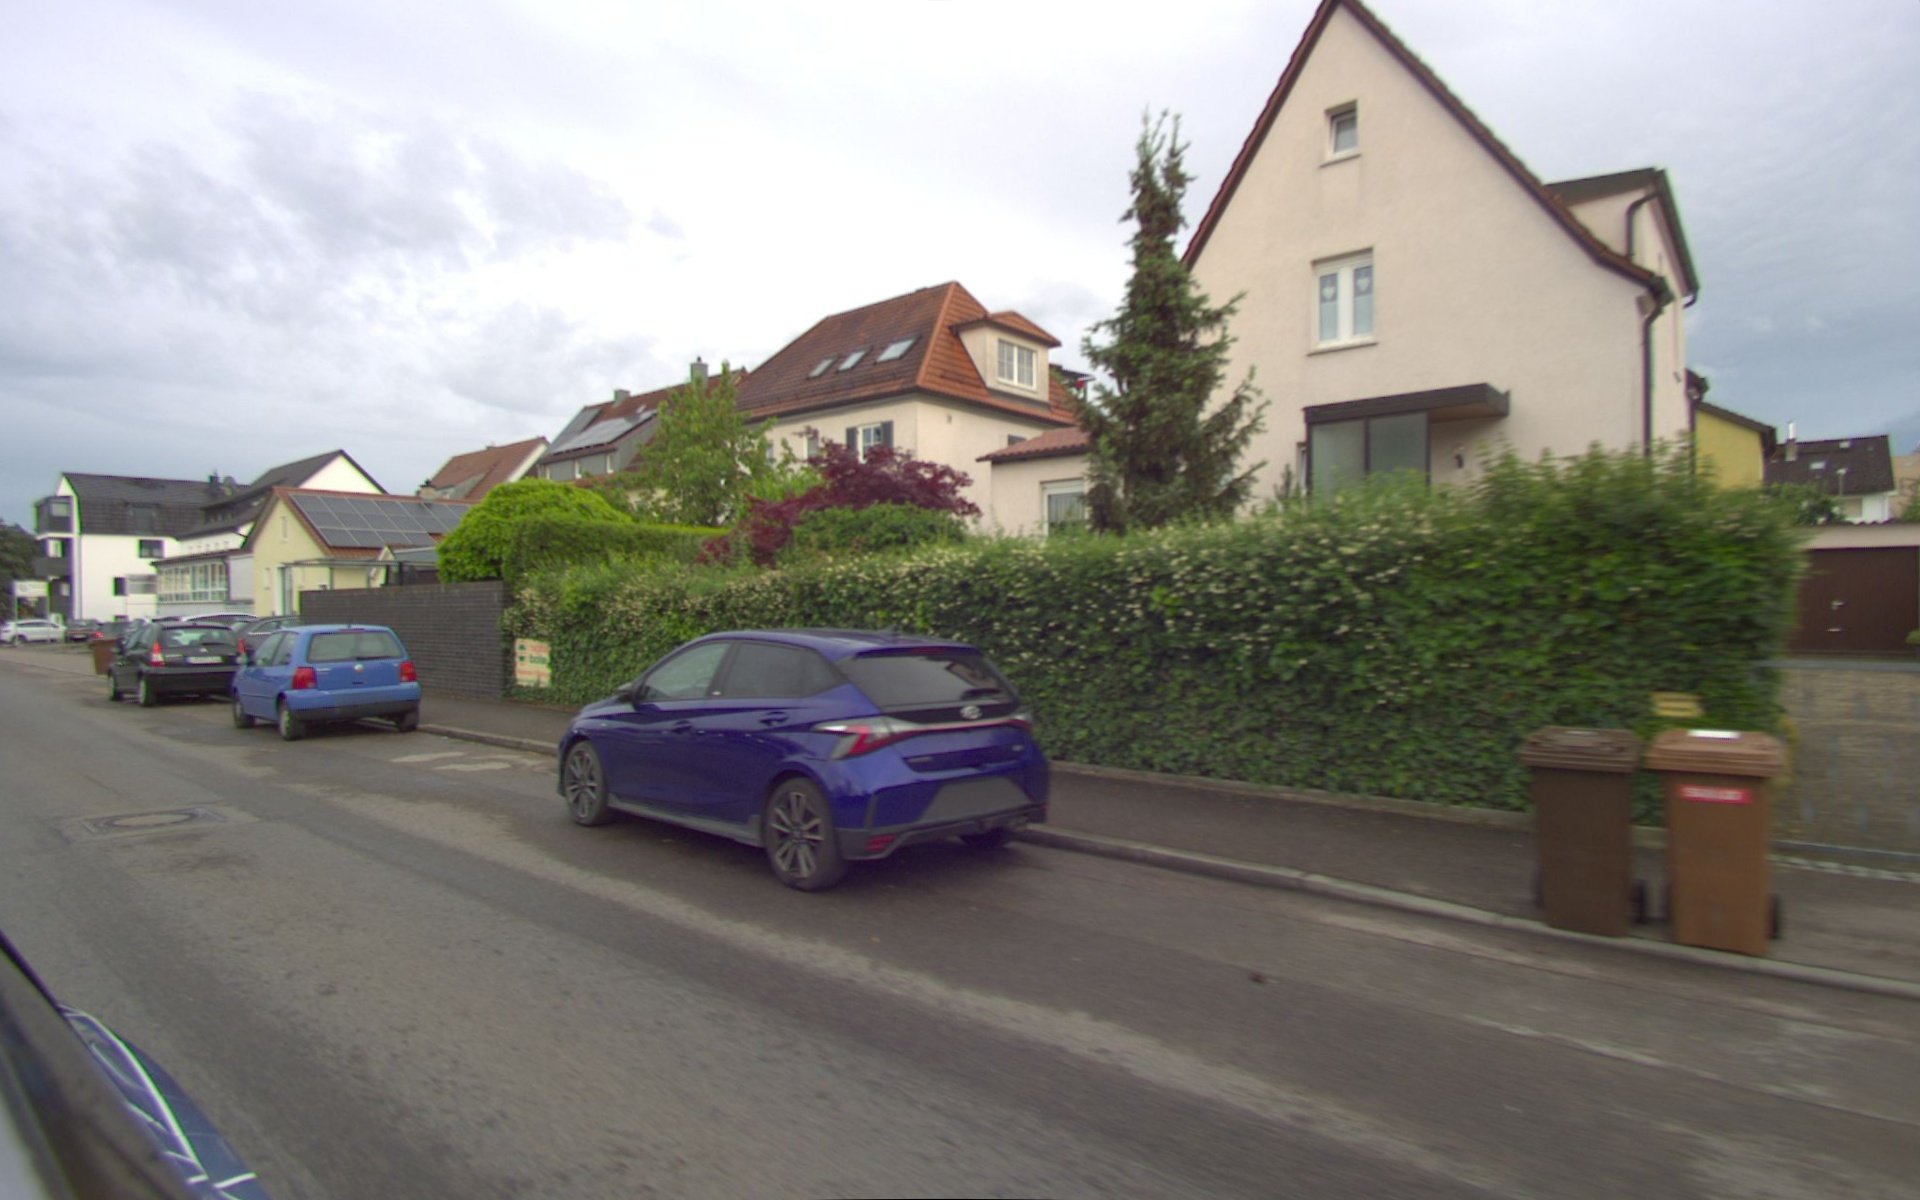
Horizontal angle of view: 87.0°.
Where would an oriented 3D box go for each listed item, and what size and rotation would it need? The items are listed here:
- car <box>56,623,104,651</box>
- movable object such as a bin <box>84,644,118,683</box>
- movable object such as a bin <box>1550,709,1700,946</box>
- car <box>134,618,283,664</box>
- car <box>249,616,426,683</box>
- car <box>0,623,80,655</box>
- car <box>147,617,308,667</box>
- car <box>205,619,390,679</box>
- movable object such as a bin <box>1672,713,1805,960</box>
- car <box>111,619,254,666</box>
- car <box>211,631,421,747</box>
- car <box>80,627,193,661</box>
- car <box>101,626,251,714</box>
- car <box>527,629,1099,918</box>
[{"bbox_3d":[-55.728,2.316,64.092,4.000,1.541,1.800,-2,5,43],"label":"car"},{"bbox_3d":[-25.492,1.877,30.038,0.686,1.065,0.590,-4,2,41],"label":"movable object such as a bin"},{"bbox_3d":[3.086,1.013,4.692,0.505,0.917,0.534,-2,2,40],"label":"movable object such as a bin"},{"bbox_3d":[-27.355,1.456,36.944,1.752,1.514,4.049,-2,-1,35],"label":"car"},{"bbox_3d":[-16.318,1.259,26.661,1.753,1.468,3.553,-1,1,36],"label":"car"},{"bbox_3d":[-60.510,2.554,66.299,1.998,1.659,3.949,-2,3,39],"label":"car"},{"bbox_3d":[-24.723,1.384,34.277,1.880,1.525,4.046,-2,-1,37],"label":"car"},{"bbox_3d":[-18.638,1.325,28.621,1.711,1.424,4.045,-2,0,38],"label":"car"},{"bbox_3d":[3.447,1.006,4.479,0.424,0.917,0.534,-2,2,40],"label":"movable object such as a bin"},{"bbox_3d":[-30.674,1.655,40.014,1.996,1.544,4.049,-7,-3,35],"label":"car"},{"bbox_3d":[-9.067,1.144,14.150,3.595,1.414,1.529,-2,-2,41],"label":"car"},{"bbox_3d":[-38.261,2.028,47.098,1.766,1.449,3.834,-2,-2,40],"label":"car"},{"bbox_3d":[-14.975,1.259,19.273,3.705,1.518,1.592,-2,-2,41],"label":"car"},{"bbox_3d":[-1.194,0.915,6.981,3.943,1.414,1.788,-2,-2,41],"label":"car"}]
